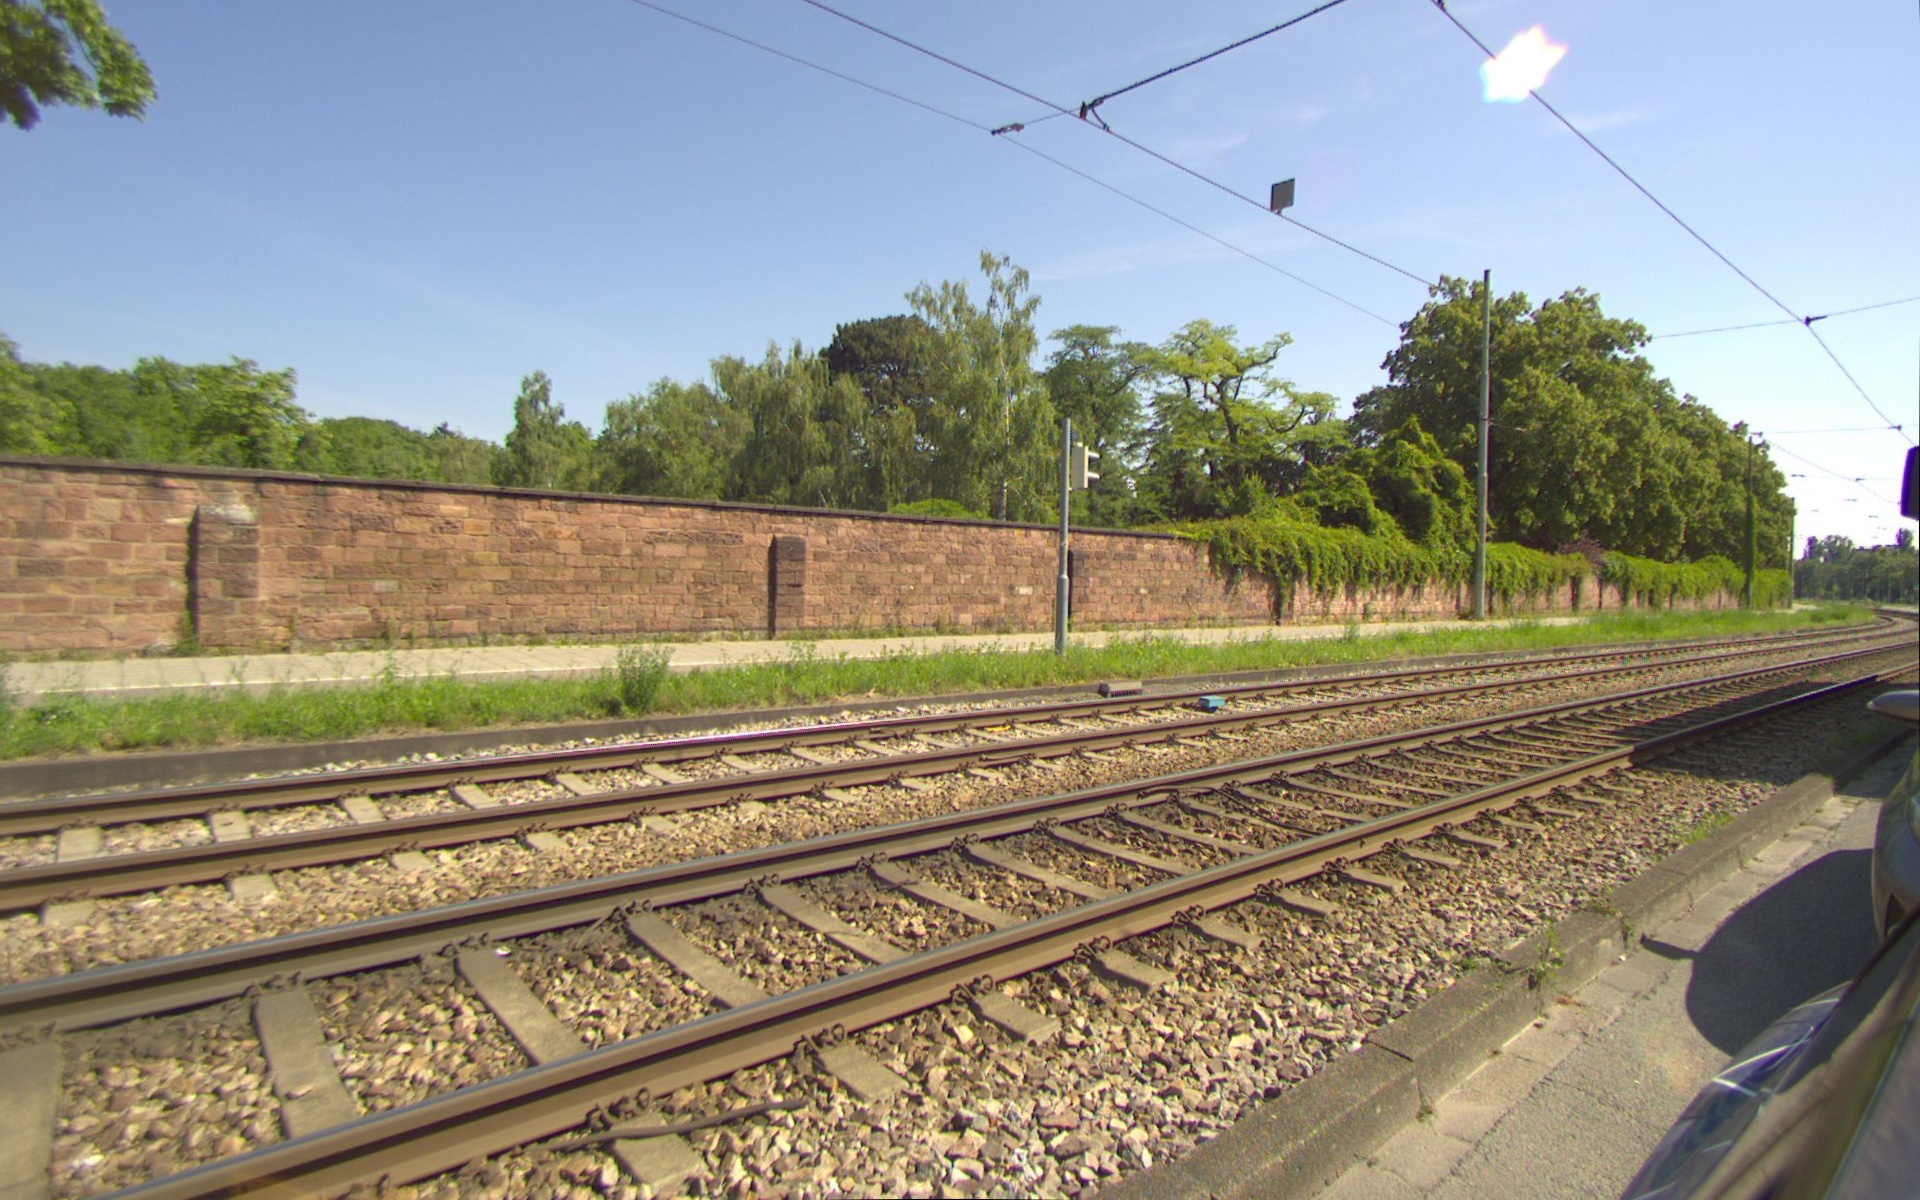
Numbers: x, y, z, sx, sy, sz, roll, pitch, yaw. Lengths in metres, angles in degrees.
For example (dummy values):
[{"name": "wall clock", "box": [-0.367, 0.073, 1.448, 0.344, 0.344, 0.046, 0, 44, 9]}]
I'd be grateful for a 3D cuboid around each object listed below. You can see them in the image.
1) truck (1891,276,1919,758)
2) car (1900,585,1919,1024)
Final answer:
[{"name": "truck", "box": [14.225, -0.632, 12.014, 14.652, 3.927, 2.934, 0, 2, -41]}, {"name": "car", "box": [5.106, 0.686, 4.008, 3.930, 1.448, 1.573, 0, 2, -41]}]
